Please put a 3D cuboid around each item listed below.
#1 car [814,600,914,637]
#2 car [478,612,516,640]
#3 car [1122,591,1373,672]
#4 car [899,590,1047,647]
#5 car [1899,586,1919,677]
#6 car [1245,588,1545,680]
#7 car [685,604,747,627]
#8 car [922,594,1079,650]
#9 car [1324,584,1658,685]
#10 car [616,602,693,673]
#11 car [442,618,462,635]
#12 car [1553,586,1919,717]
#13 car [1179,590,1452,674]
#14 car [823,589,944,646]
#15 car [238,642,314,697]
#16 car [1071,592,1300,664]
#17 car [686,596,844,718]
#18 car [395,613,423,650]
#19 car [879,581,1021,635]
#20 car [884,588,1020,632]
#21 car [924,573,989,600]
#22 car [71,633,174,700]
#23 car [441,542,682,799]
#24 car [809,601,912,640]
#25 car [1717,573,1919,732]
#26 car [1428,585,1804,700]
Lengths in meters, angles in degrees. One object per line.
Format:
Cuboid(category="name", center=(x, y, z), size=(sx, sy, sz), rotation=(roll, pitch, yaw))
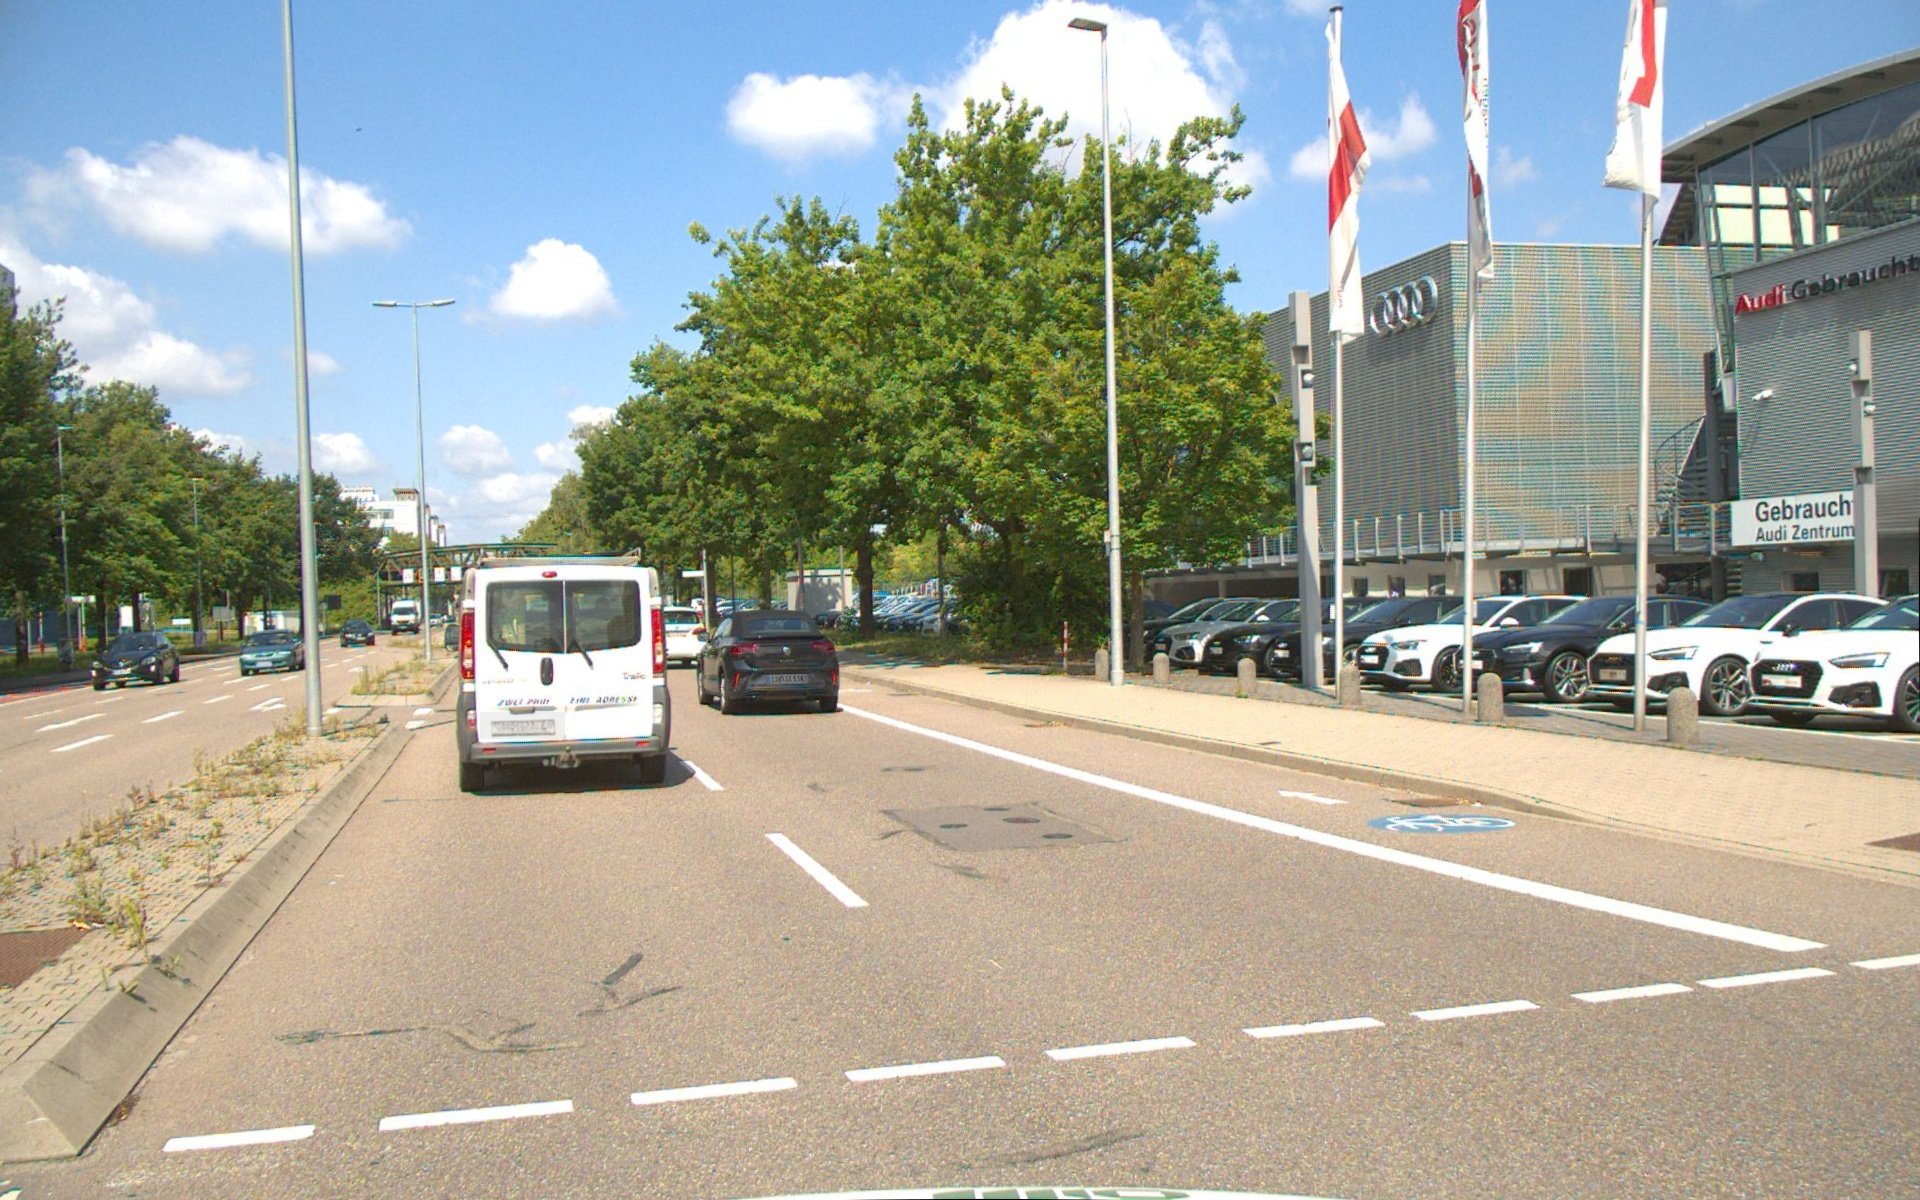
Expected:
Cuboid(category="car", center=(-4.154, 0.778, 71.523), size=(4.040, 1.470, 1.848), rotation=(-1, 0, -16))
Cuboid(category="car", center=(-27.303, 1.538, 97.522), size=(1.828, 1.467, 3.976), rotation=(-1, 2, -21))
Cuboid(category="car", center=(5.653, 0.615, 32.648), size=(4.501, 1.429, 1.899), rotation=(2, 1, -16))
Cuboid(category="car", center=(0.403, 0.585, 54.137), size=(4.501, 1.707, 1.899), rotation=(-1, 1, -16))
Cuboid(category="car", center=(18.345, 0.449, 27.916), size=(4.277, 1.525, 1.899), rotation=(-2, 0, -16))
Cuboid(category="car", center=(7.225, 0.561, 27.593), size=(4.501, 1.320, 1.899), rotation=(2, 1, -16))
Cuboid(category="car", center=(-17.877, 1.113, 121.044), size=(4.287, 1.539, 1.927), rotation=(-1, 1, -18))
Cuboid(category="car", center=(1.254, 0.684, 51.529), size=(4.501, 1.525, 1.899), rotation=(-2, 0, -16))
Cuboid(category="car", center=(7.926, 0.465, 24.783), size=(4.501, 1.320, 1.899), rotation=(-1, 1, -16))
Cuboid(category="car", center=(-8.042, 0.940, 43.320), size=(1.744, 1.657, 3.986), rotation=(-2, 1, -14))
Cuboid(category="car", center=(-59.745, 3.160, 194.536), size=(1.960, 1.802, 3.985), rotation=(-1, 1, -15))
Cuboid(category="car", center=(9.481, 0.543, 19.443), size=(4.501, 1.320, 1.899), rotation=(-1, 1, -16))
Cuboid(category="car", center=(6.422, 0.568, 29.978), size=(4.501, 1.408, 1.899), rotation=(1, 1, -16))
Cuboid(category="car", center=(-3.059, 0.665, 65.960), size=(4.501, 2.085, 1.899), rotation=(-1, 1, -16))
Cuboid(category="car", center=(-23.047, 2.302, 55.878), size=(1.745, 1.575, 4.798), rotation=(-5, 1, -17))
Cuboid(category="car", center=(4.812, 0.575, 35.392), size=(4.501, 1.429, 1.899), rotation=(0, 1, -16))
Cuboid(category="car", center=(-3.127, 0.814, 25.830), size=(1.746, 1.657, 3.981), rotation=(-2, 1, -17))
Cuboid(category="car", center=(-45.943, 2.631, 137.945), size=(1.993, 2.944, 6.345), rotation=(-2, 0, -20))
Cuboid(category="car", center=(-0.348, 0.253, 56.420), size=(4.501, 1.707, 1.899), rotation=(-1, 1, -16))
Cuboid(category="car", center=(-0.291, 0.342, 58.987), size=(4.501, 1.429, 1.899), rotation=(-1, 1, -16))
Cuboid(category="car", center=(-0.240, -0.978, 117.633), size=(4.280, 1.805, 1.930), rotation=(-1, 1, -13))
Cuboid(category="car", center=(-26.000, 2.025, 51.504), size=(1.898, 1.785, 4.798), rotation=(-5, 1, -17))
Cuboid(category="car", center=(-4.038, 0.552, 16.191), size=(1.942, 2.095, 4.542), rotation=(-2, 1, -18))
Cuboid(category="car", center=(-4.458, 0.912, 73.863), size=(4.284, 1.539, 1.848), rotation=(-2, 0, -16))
Cuboid(category="car", center=(10.009, 0.545, 16.926), size=(3.922, 1.490, 1.788), rotation=(1, -1, -16))
Cuboid(category="car", center=(8.774, 0.517, 22.195), size=(4.501, 1.320, 1.899), rotation=(-1, 1, -16))
